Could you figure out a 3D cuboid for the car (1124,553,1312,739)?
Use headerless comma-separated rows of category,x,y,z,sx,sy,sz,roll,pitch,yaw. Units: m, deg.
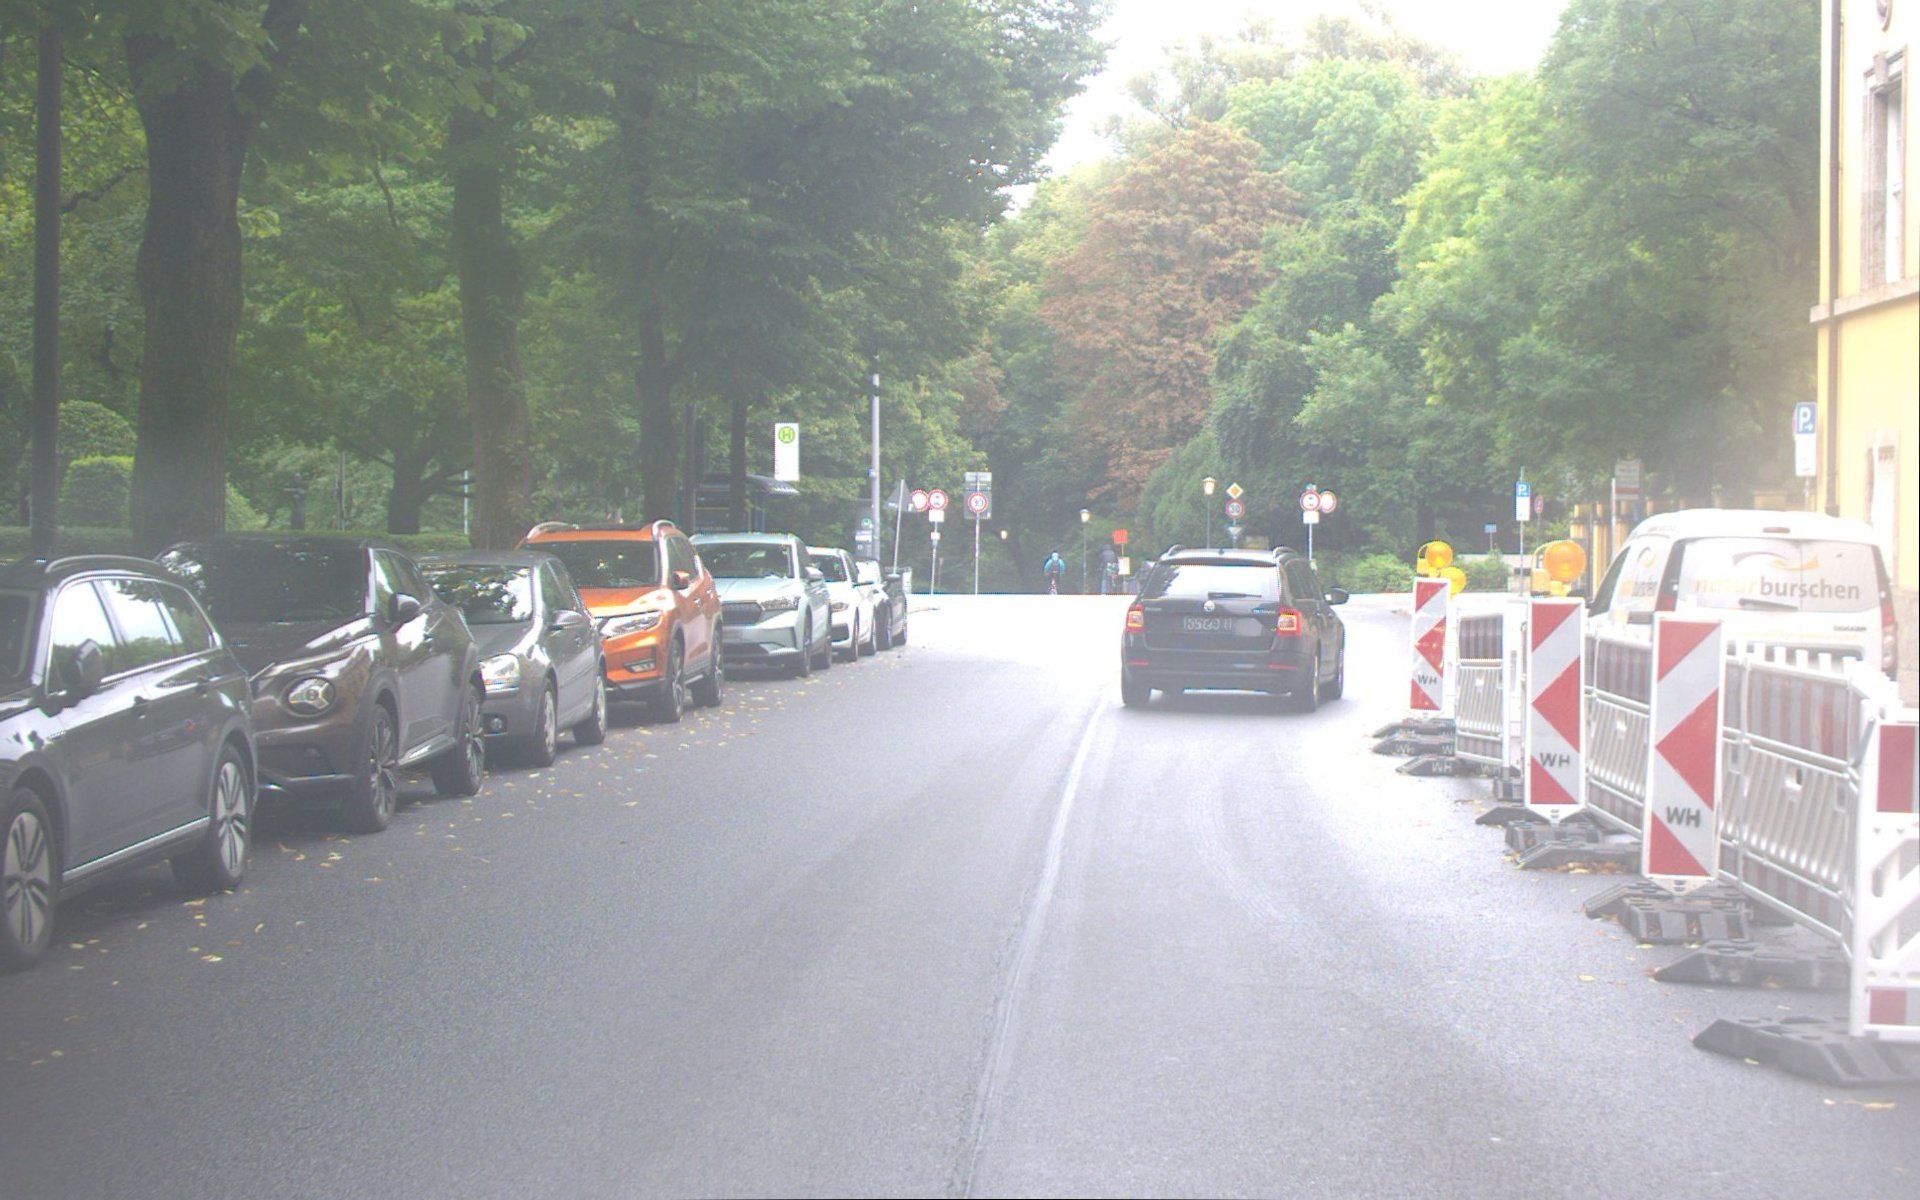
car,2.426,0.376,31.630,1.578,1.578,4.043,1,1,6

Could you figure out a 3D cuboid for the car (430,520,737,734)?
car,-3.222,0.193,30.330,1.873,1.722,4.640,1,1,4

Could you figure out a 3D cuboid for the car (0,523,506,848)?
car,-3.788,0.375,19.061,1.786,1.569,4.486,1,1,2

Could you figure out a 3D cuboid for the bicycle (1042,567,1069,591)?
bicycle,3.365,-0.745,121.436,0.679,0.827,2.110,1,0,-6

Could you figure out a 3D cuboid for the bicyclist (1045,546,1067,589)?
bicyclist,3.388,-1.155,121.523,0.680,1.499,0.901,0,1,-6

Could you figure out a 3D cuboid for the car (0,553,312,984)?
car,-3.980,0.543,13.420,1.719,1.446,4.695,1,1,4

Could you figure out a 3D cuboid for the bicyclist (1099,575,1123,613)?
bicyclist,4.723,-0.197,107.738,0.680,1.183,0.481,0,1,-7

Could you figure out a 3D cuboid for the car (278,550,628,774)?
car,-3.526,0.375,24.628,1.727,1.418,4.251,1,1,2

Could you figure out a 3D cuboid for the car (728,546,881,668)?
car,-1.981,0.063,44.819,1.577,1.492,4.199,1,1,3

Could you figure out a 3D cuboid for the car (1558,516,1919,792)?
car,5.401,0.345,24.161,1.740,1.744,4.356,1,0,2

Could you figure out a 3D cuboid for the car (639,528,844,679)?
car,-2.425,0.009,39.197,1.815,1.596,4.513,1,1,3

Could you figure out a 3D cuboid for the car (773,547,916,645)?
car,-1.641,-0.078,50.112,1.577,1.338,4.043,1,1,5
